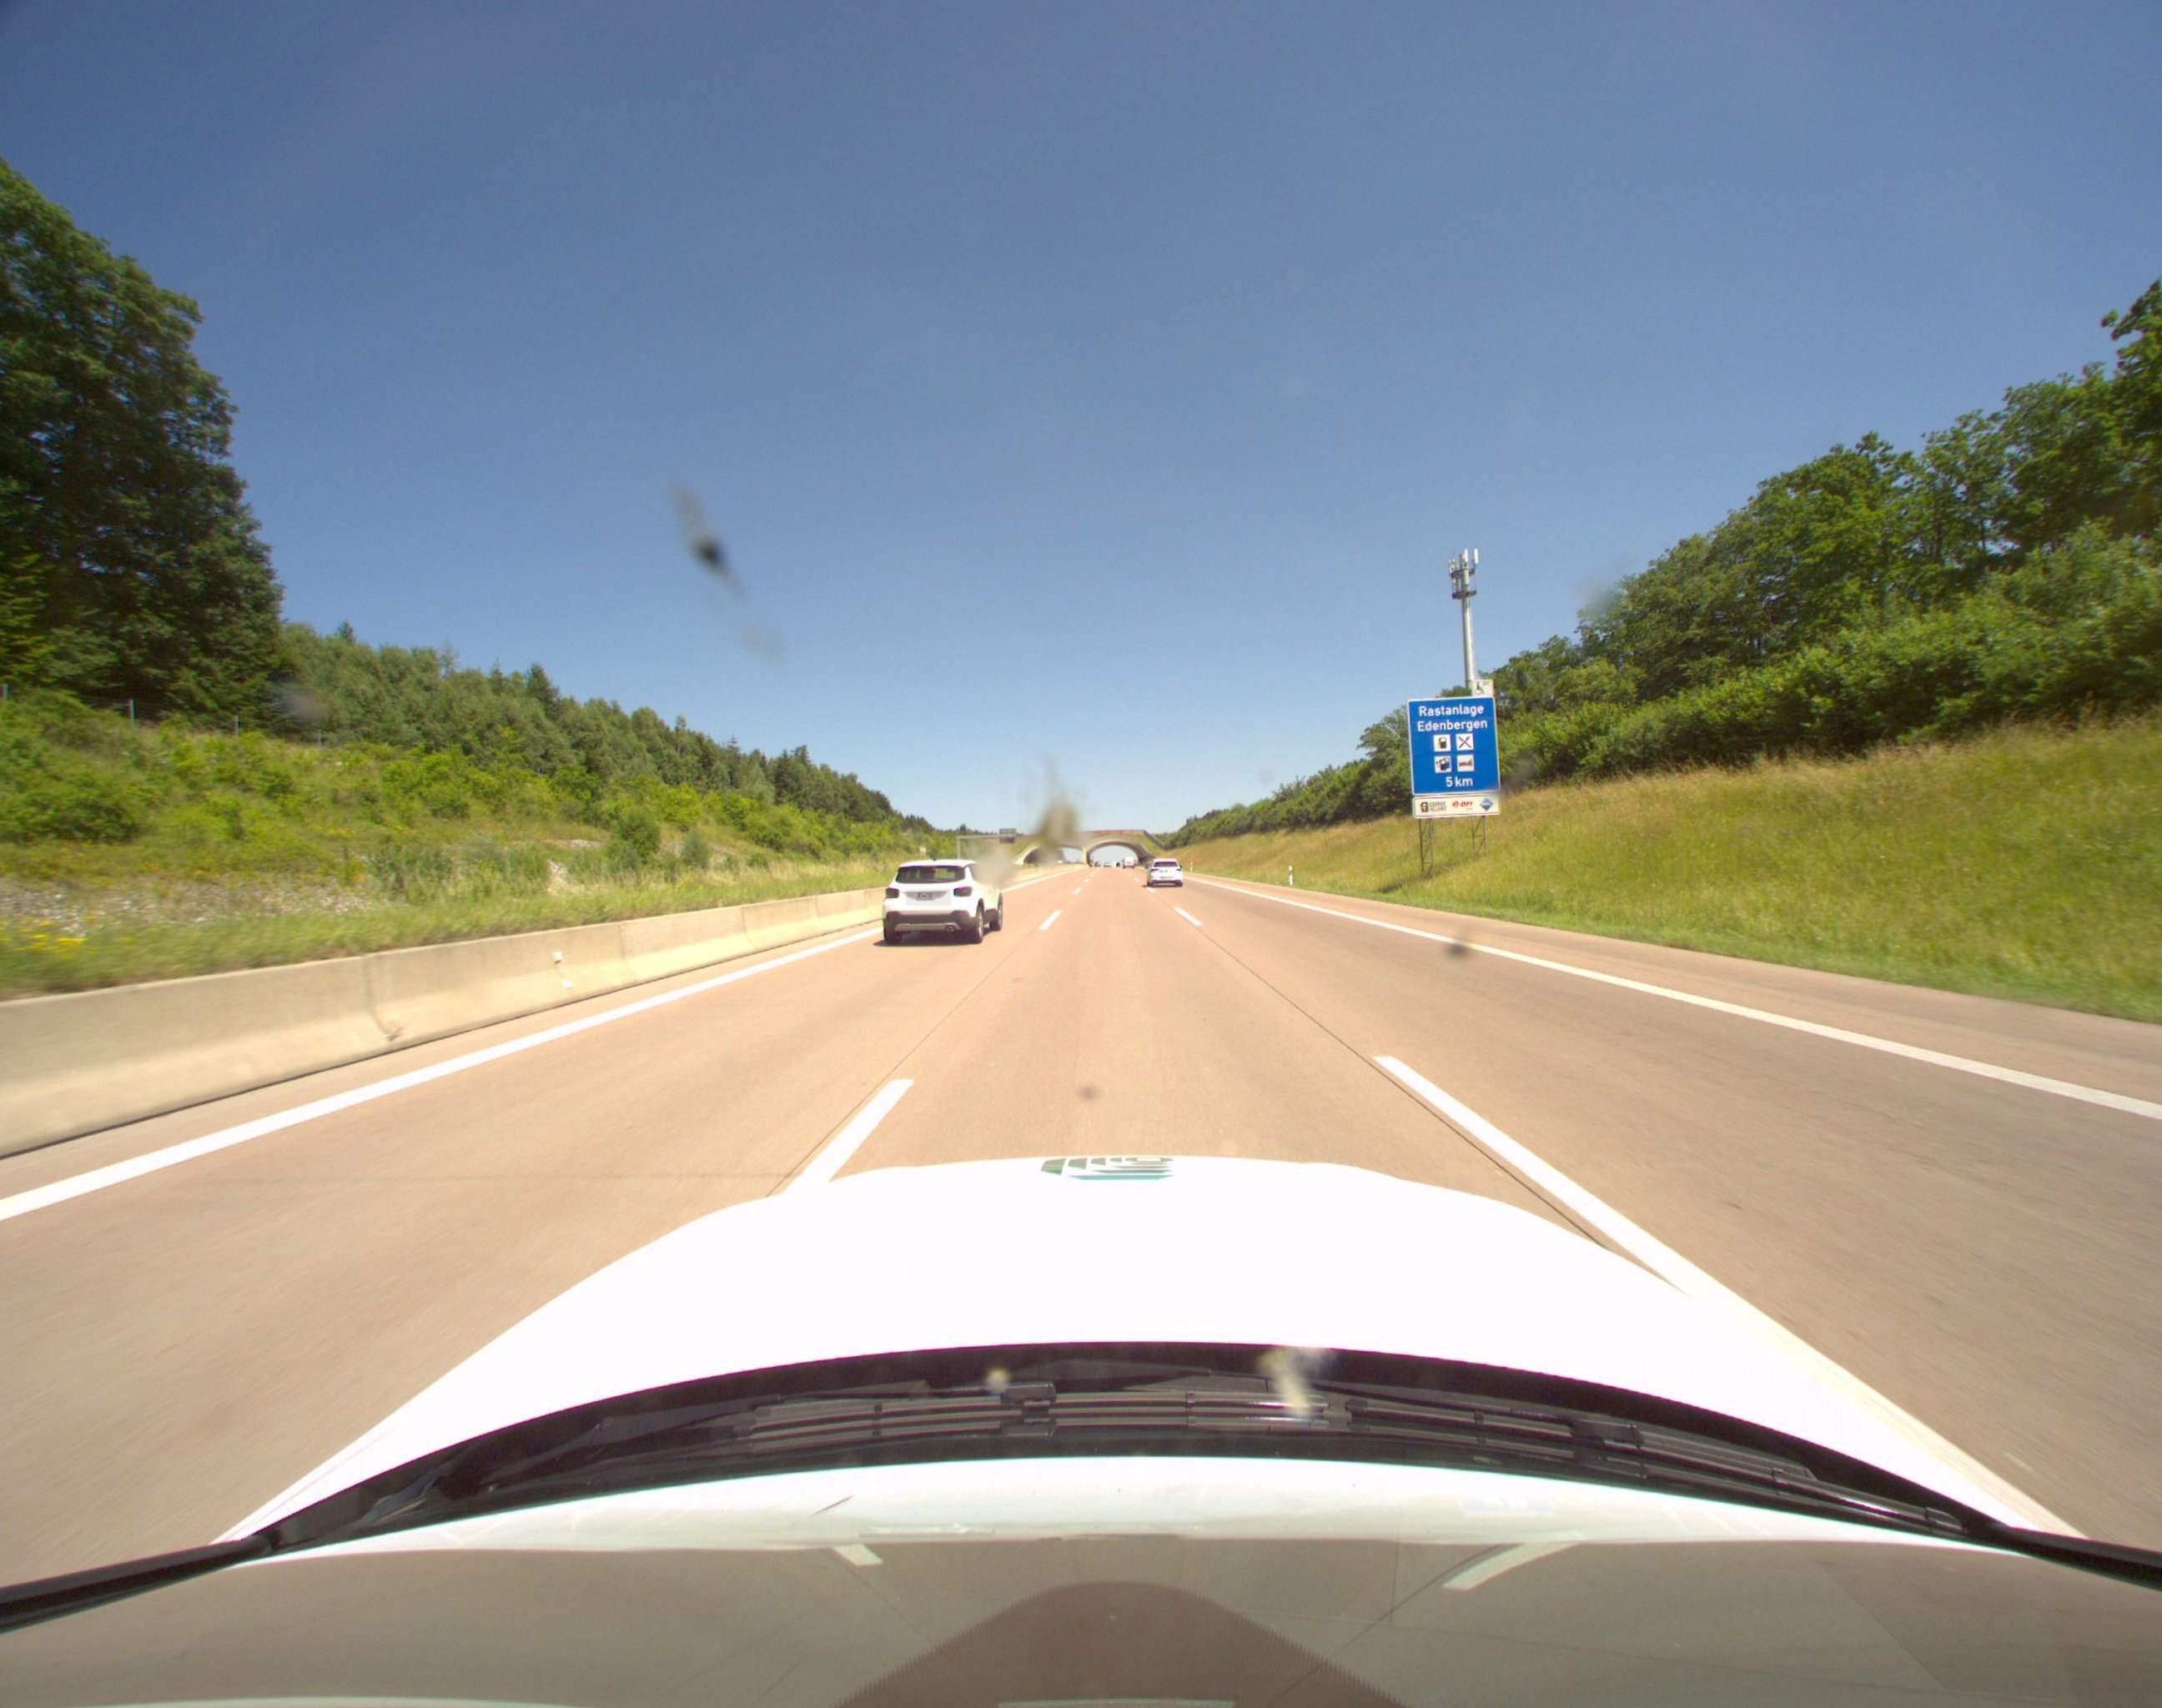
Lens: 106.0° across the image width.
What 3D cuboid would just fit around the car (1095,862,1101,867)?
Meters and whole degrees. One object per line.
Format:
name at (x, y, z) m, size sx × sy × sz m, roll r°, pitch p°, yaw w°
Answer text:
car at (5.459, 3.387, 262.728) m, size 1.882 × 1.463 × 4.004 m, roll -1°, pitch 1°, yaw 4°

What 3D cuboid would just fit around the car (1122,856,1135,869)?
car at (8.031, 1.442, 136.774) m, size 2.101 × 2.054 × 4.004 m, roll -1°, pitch 0°, yaw 4°

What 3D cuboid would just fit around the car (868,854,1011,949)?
car at (-2.655, 0.826, 16.496) m, size 1.872 × 1.607 × 4.836 m, roll -1°, pitch 0°, yaw 2°

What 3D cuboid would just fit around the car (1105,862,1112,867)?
car at (7.586, 2.973, 227.652) m, size 1.883 × 1.463 × 4.002 m, roll 0°, pitch 0°, yaw 2°

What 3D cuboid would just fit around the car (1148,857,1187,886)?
car at (4.500, 0.865, 42.827) m, size 1.882 × 1.398 × 4.004 m, roll 0°, pitch 0°, yaw 4°
